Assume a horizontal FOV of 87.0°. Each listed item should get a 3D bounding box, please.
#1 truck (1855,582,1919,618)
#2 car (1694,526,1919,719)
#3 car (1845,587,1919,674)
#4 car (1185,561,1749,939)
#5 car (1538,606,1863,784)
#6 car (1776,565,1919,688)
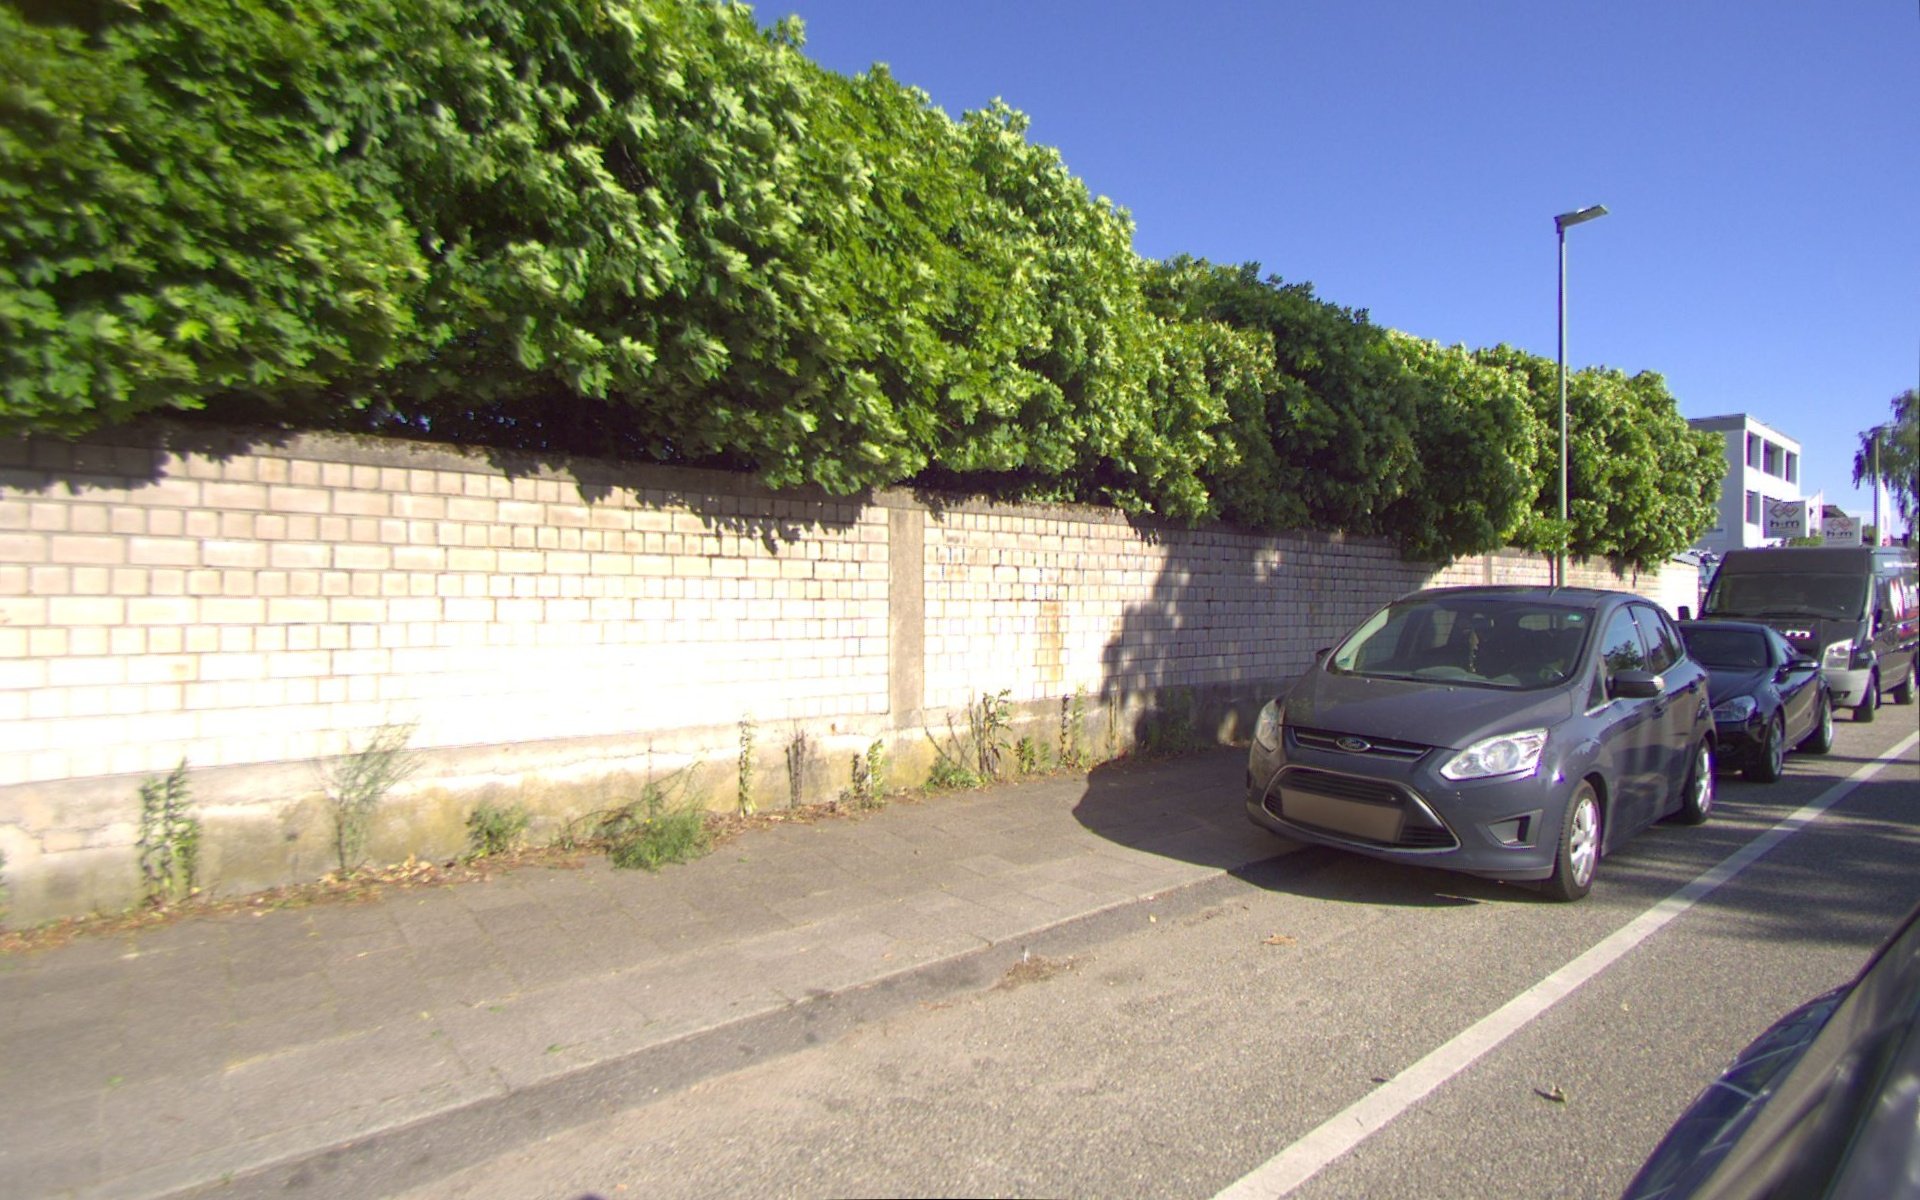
[{"bbox_3d":[66.779,-0.008,71.929,4.343,2.497,1.982,1,0,26],"label":"truck"},{"bbox_3d":[12.271,0.249,14.326,5.054,2.288,1.896,0,1,-40],"label":"car"},{"bbox_3d":[21.098,0.590,22.250,4.827,1.766,1.804,-1,-1,-41],"label":"car"},{"bbox_3d":[3.385,0.663,6.384,4.130,1.634,1.684,0,-1,-40],"label":"car"},{"bbox_3d":[7.307,0.750,9.835,4.031,1.335,1.658,0,1,-40],"label":"car"},{"bbox_3d":[16.535,0.402,18.311,4.834,1.950,1.896,0,1,-40],"label":"car"}]
